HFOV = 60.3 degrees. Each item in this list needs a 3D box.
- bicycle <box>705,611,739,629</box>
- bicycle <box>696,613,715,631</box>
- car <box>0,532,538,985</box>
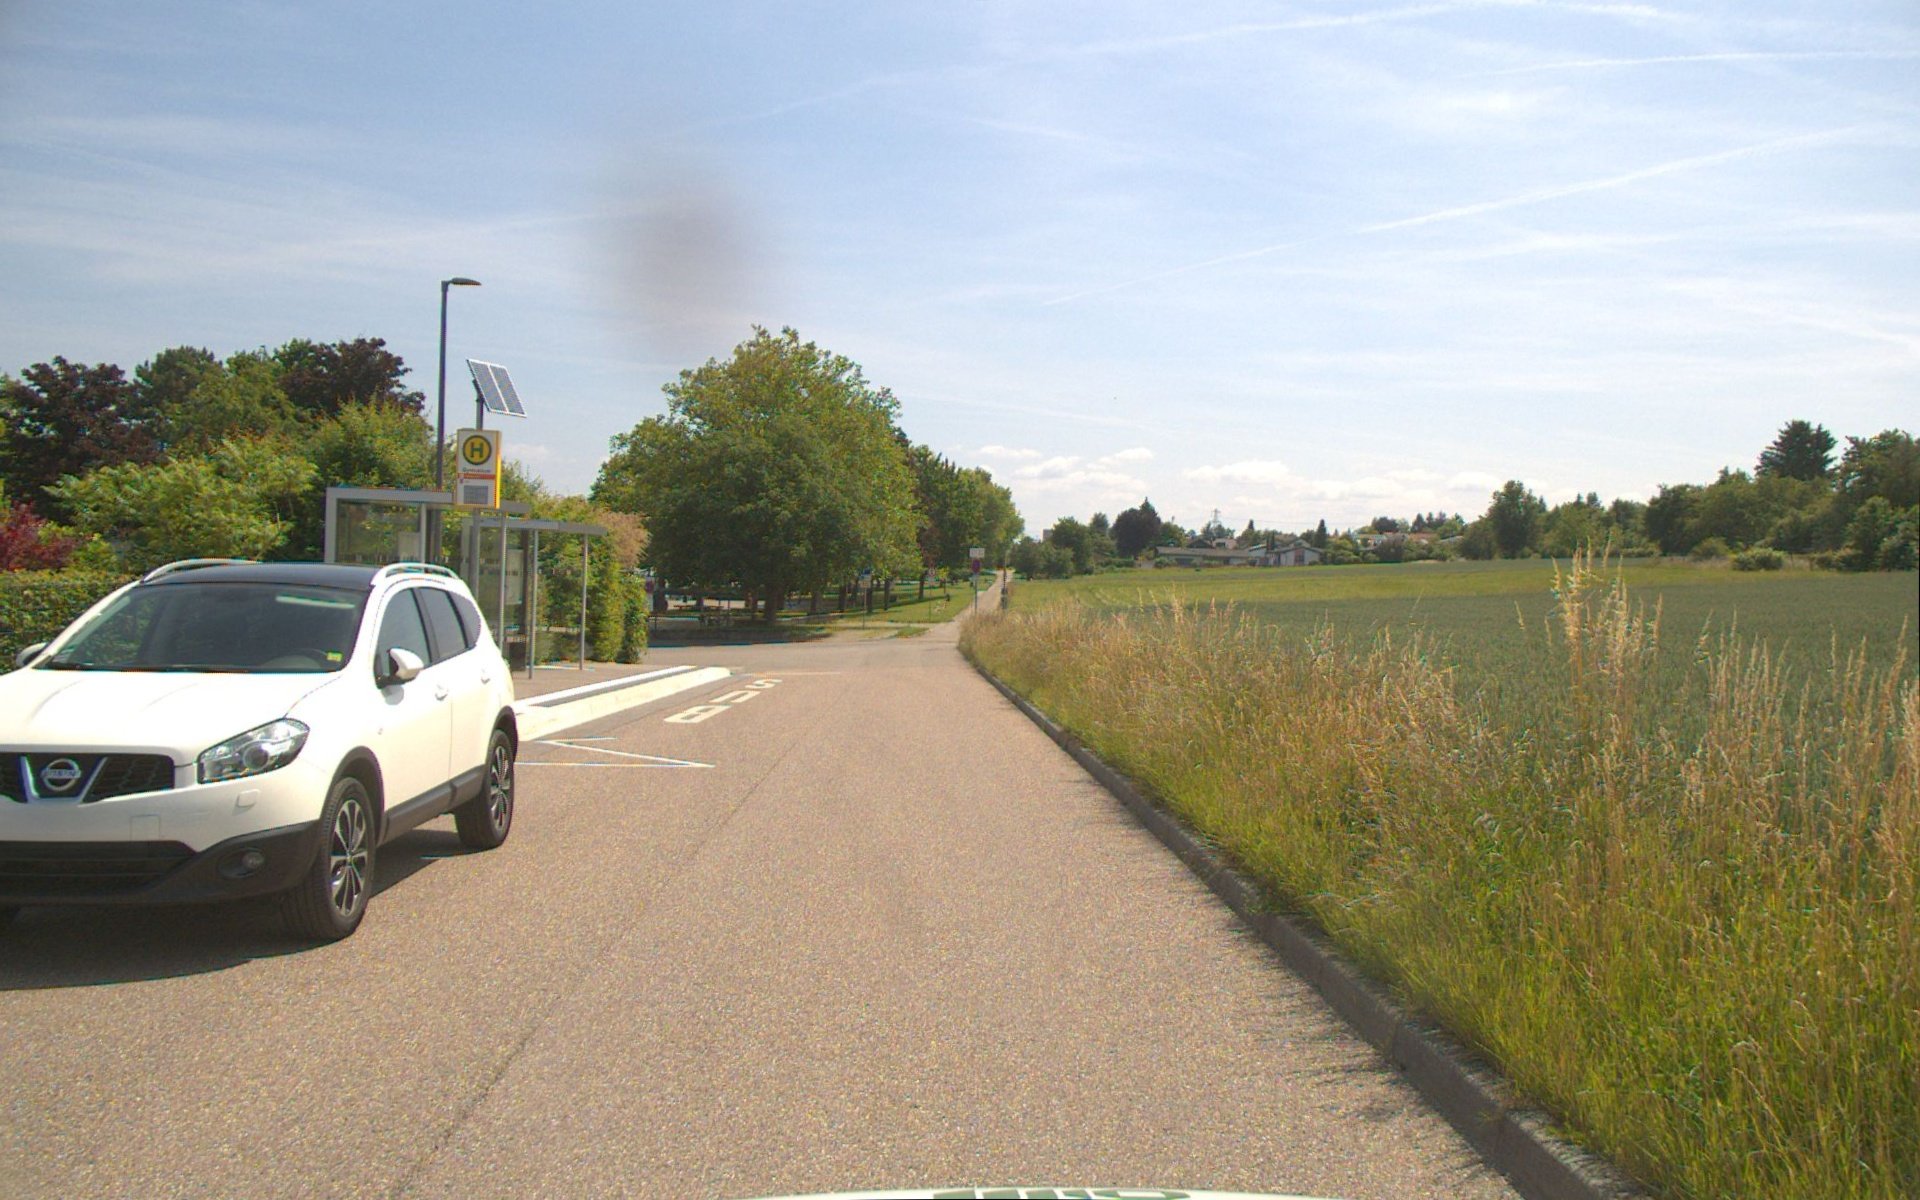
[{"bbox_3d":[-14.601,1.244,101.533,2.023,1.057,0.571,-1,0,-7],"label":"bicycle"},{"bbox_3d":[-15.301,1.308,99.349,0.582,1.057,1.894,-1,0,9],"label":"bicycle"},{"bbox_3d":[-3.445,0.591,8.249,1.699,1.662,4.350,1,0,-2],"label":"car"}]
